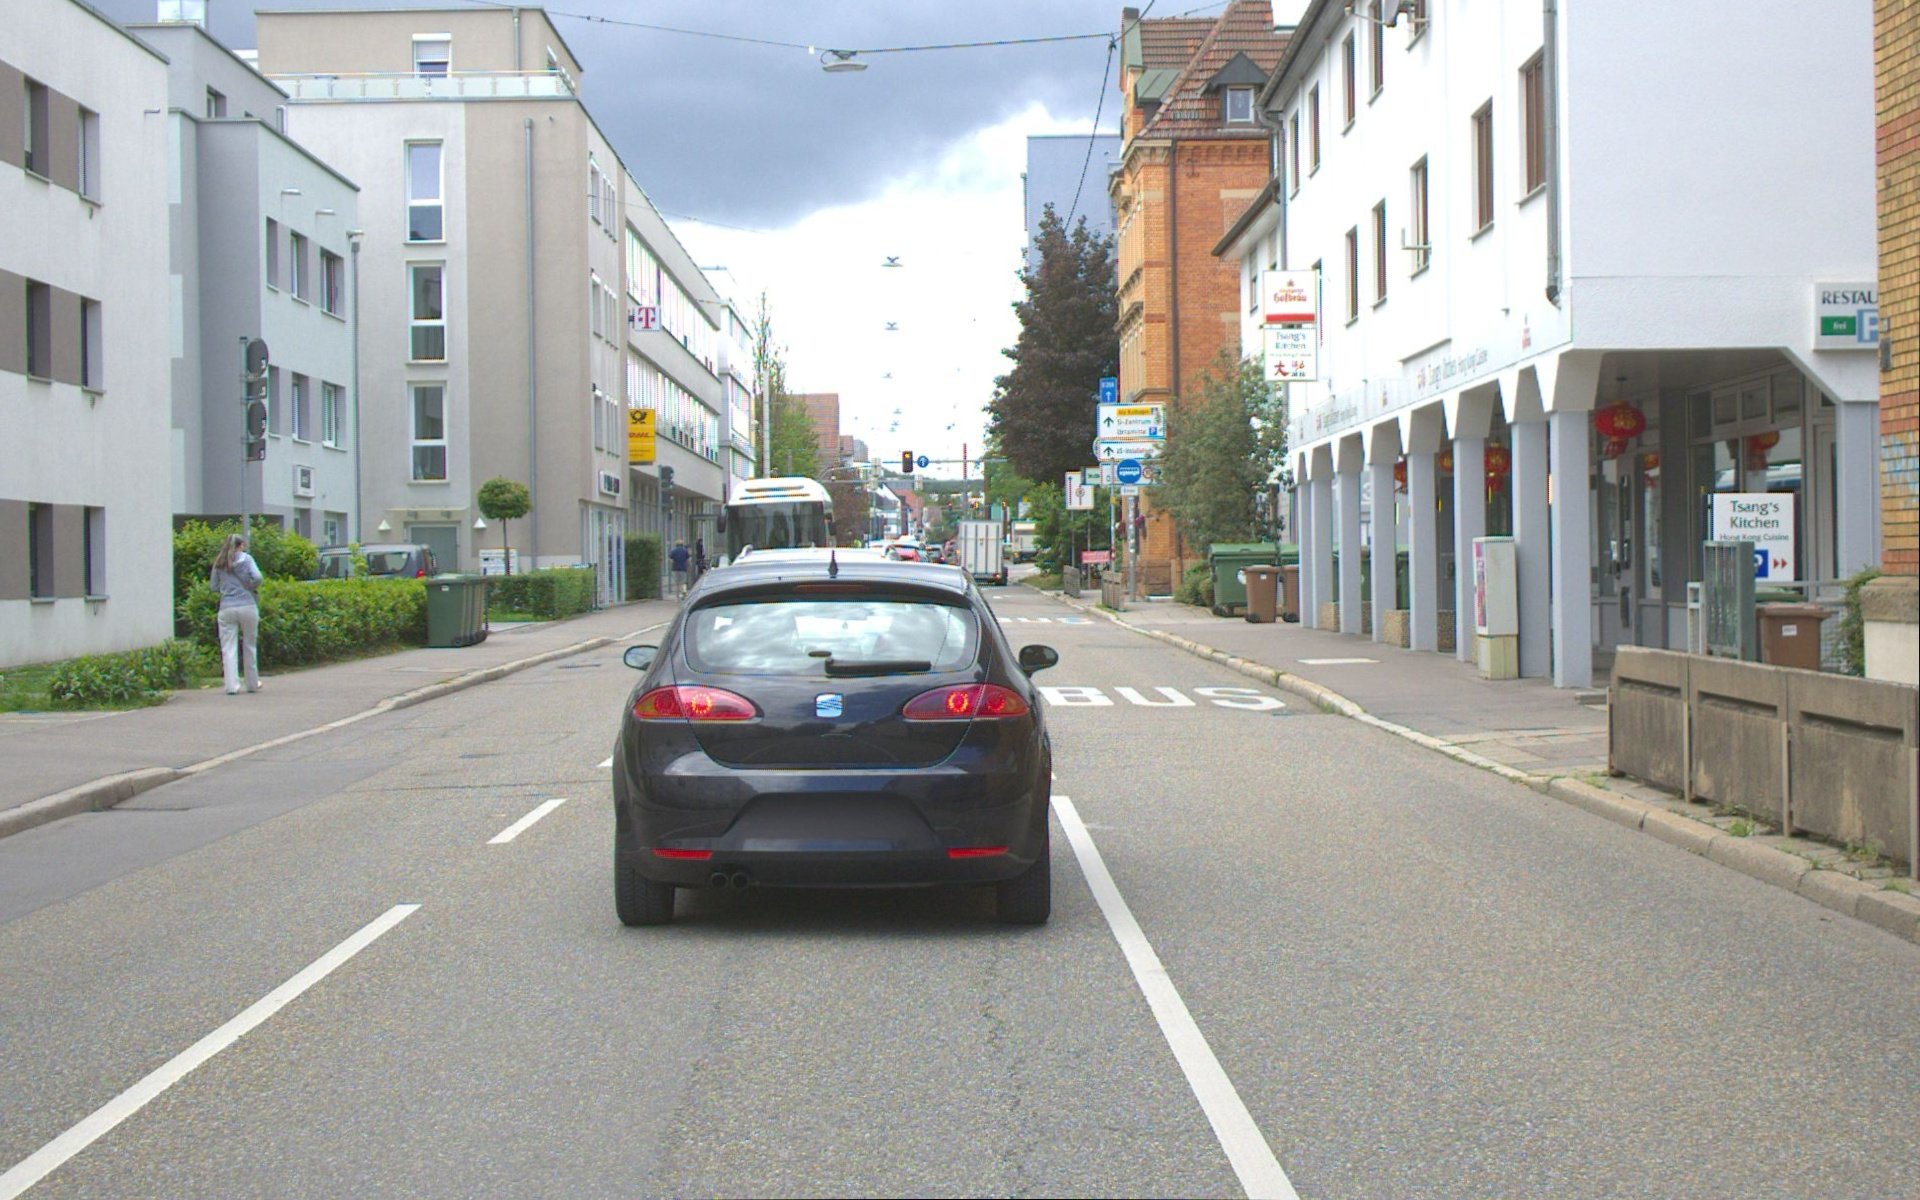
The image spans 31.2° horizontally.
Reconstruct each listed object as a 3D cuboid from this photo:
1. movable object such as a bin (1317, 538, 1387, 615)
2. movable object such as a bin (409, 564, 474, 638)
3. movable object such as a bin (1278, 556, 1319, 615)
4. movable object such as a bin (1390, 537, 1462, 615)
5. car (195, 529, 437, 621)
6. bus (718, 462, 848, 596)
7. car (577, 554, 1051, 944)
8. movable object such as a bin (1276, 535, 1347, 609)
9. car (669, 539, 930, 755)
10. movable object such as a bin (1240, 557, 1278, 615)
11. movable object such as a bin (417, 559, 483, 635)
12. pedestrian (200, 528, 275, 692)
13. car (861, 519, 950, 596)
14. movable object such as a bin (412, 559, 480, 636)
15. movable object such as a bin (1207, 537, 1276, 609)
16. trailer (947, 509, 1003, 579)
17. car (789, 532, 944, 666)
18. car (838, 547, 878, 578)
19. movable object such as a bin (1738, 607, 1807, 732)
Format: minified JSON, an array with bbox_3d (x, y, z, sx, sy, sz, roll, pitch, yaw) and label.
[{"bbox_3d":[7.236,-0.439,63.512,1.209,1.412,1.259,0,1,3],"label":"movable object such as a bin"},{"bbox_3d":[-7.720,0.009,51.253,0.894,1.085,0.793,-1,1,-5],"label":"movable object such as a bin"},{"bbox_3d":[6.285,-0.270,63.864,0.698,1.075,0.971,0,1,3],"label":"movable object such as a bin"},{"bbox_3d":[8.600,-0.448,63.494,1.209,1.412,1.259,0,1,3],"label":"movable object such as a bin"},{"bbox_3d":[-12.115,-0.473,64.807,4.163,1.662,1.724,-1,0,3],"label":"car"},{"bbox_3d":[-4.638,-1.904,92.173,2.942,3.262,12.009,-2,1,-1],"label":"bus"},{"bbox_3d":[-0.564,0.532,14.799,1.765,1.428,3.828,0,1,0],"label":"car"},{"bbox_3d":[6.903,-0.563,67.597,1.267,1.430,1.307,0,1,0],"label":"movable object such as a bin"},{"bbox_3d":[-1.157,0.293,25.851,1.803,1.487,3.738,-1,1,-1],"label":"car"},{"bbox_3d":[5.555,-0.264,63.890,0.683,1.063,0.971,0,1,3],"label":"movable object such as a bin"},{"bbox_3d":[-7.850,-0.044,52.948,0.948,1.147,0.749,-1,1,-5],"label":"movable object such as a bin"},{"bbox_3d":[-7.277,0.099,34.631,0.638,1.637,0.520,0,1,0],"label":"pedestrian"},{"bbox_3d":[-1.146,-0.897,71.628,1.803,1.547,3.738,-1,1,-1],"label":"car"},{"bbox_3d":[-7.792,-0.047,52.120,0.956,1.147,0.840,-1,1,-5],"label":"movable object such as a bin"},{"bbox_3d":[5.547,-0.537,67.809,1.267,1.412,1.162,0,1,0],"label":"movable object such as a bin"},{"bbox_3d":[0.565,-2.160,131.920,1.993,2.598,5.350,-1,1,-1],"label":"trailer"},{"bbox_3d":[-1.137,-0.045,42.141,1.803,1.547,3.738,-1,1,-1],"label":"car"},{"bbox_3d":[-5.162,-1.909,174.709,1.878,1.446,4.214,-3,1,-1],"label":"car"},{"bbox_3d":[6.023,0.511,25.498,0.397,0.900,0.456,-1,1,0],"label":"movable object such as a bin"}]
